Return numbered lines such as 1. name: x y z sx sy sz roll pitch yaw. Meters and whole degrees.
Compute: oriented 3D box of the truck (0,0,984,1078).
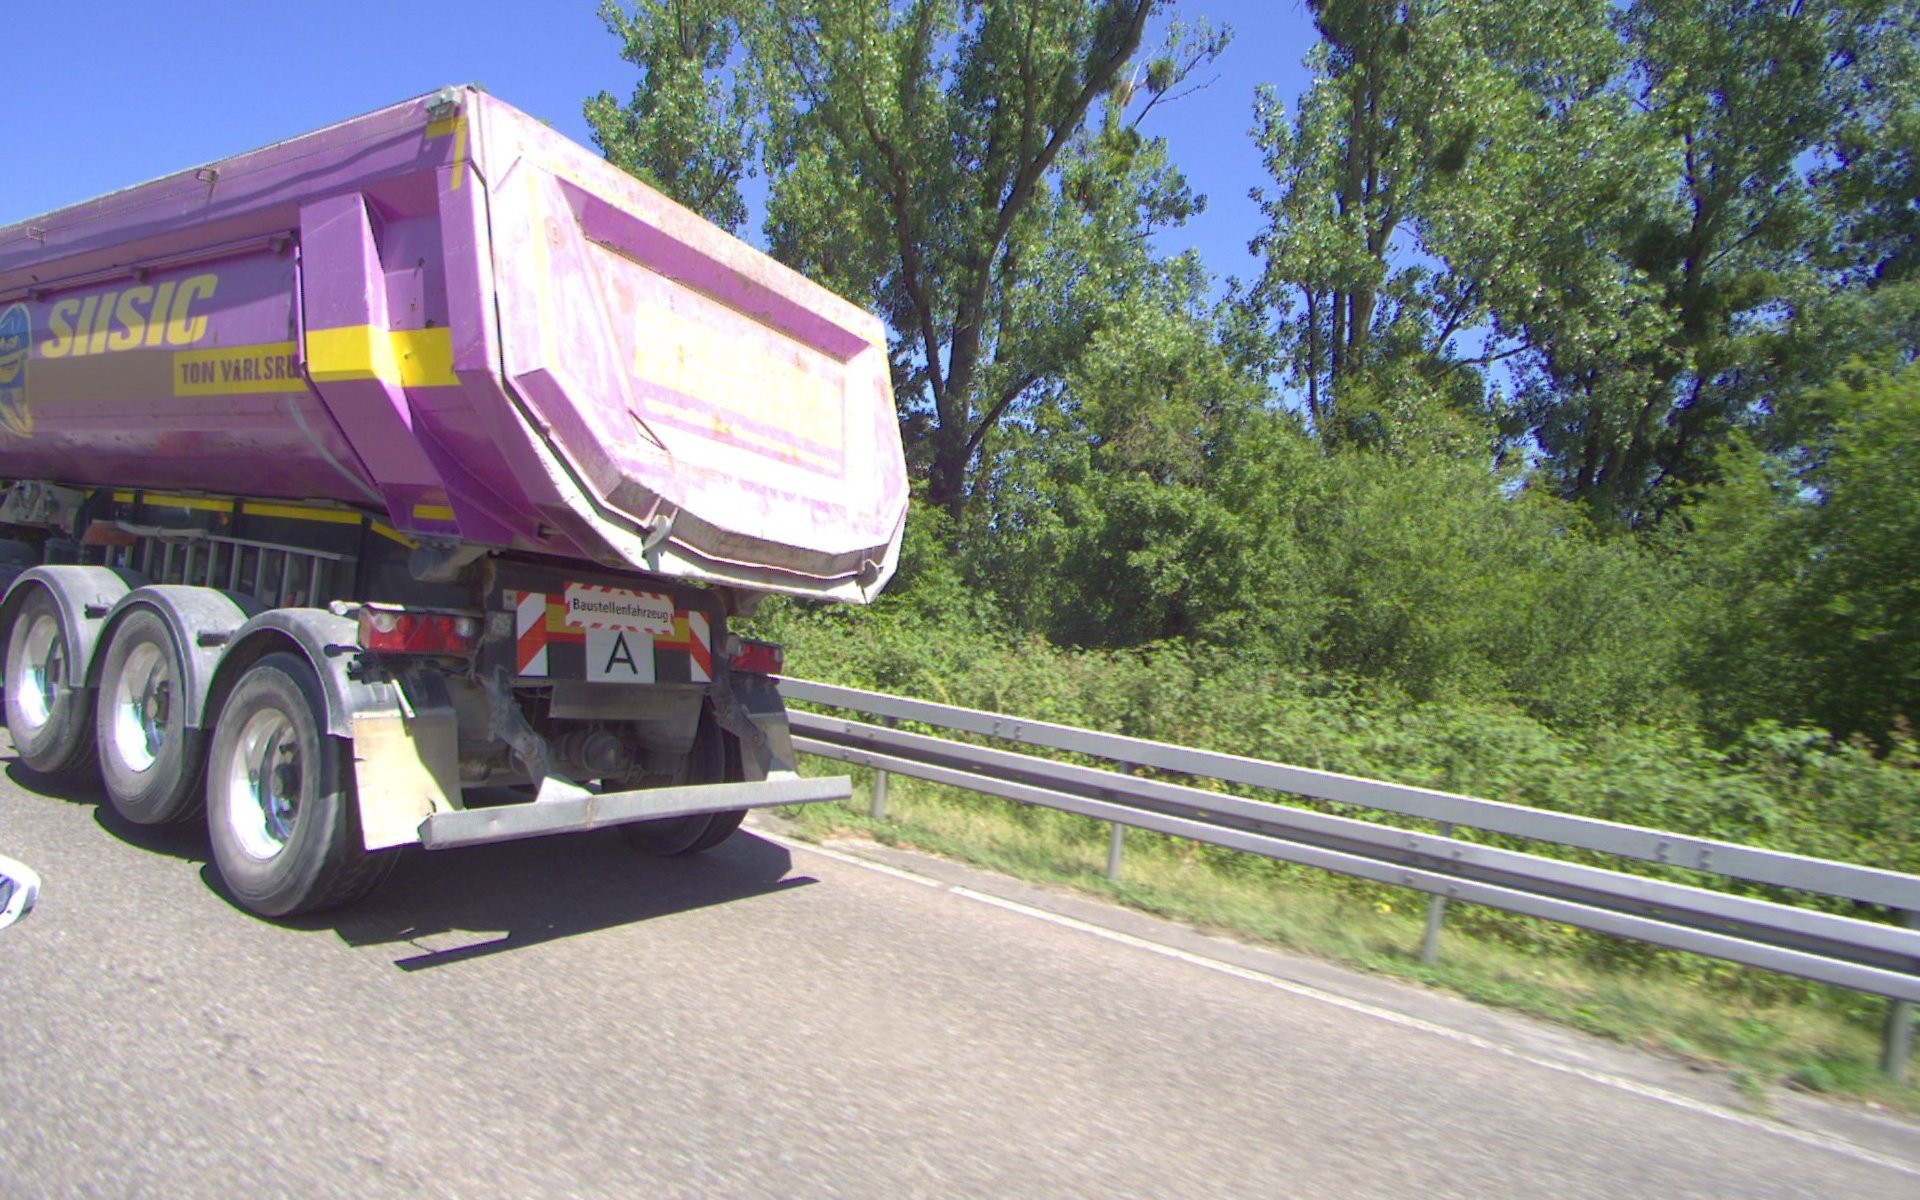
1. truck: -5.967 -0.971 7.355 12.163 3.976 2.726 6 -1 31
